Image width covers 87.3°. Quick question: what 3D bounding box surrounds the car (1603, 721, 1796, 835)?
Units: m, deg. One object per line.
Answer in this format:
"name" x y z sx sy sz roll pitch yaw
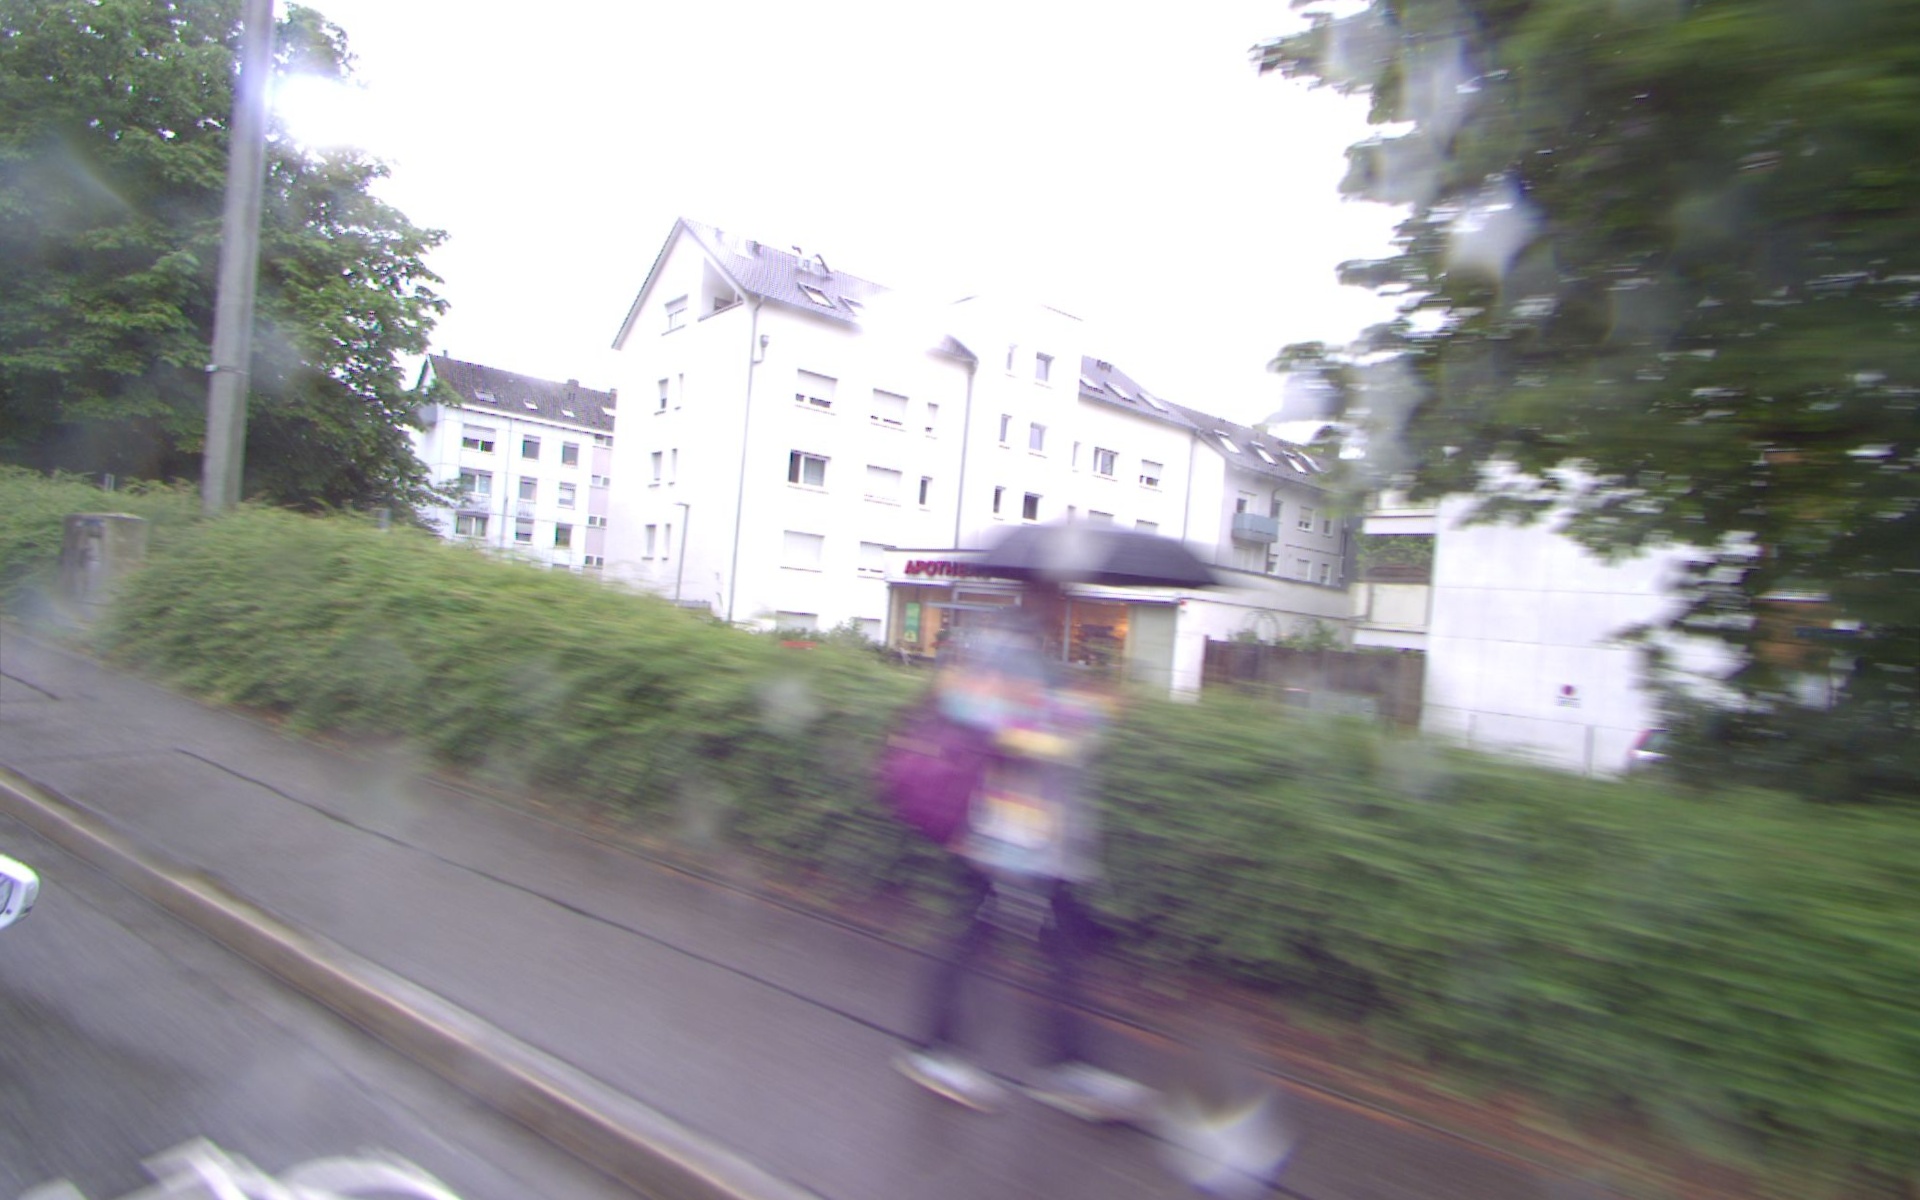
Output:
"car" 12.396 2.888 16.804 3.633 1.427 1.648 6 1 -40

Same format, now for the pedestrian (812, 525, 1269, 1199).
"pedestrian" 0.236 0.628 2.825 0.859 1.546 0.768 8 3 34

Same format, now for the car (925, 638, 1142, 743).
"car" 1.461 1.836 20.705 3.941 1.481 1.918 7 -2 39
